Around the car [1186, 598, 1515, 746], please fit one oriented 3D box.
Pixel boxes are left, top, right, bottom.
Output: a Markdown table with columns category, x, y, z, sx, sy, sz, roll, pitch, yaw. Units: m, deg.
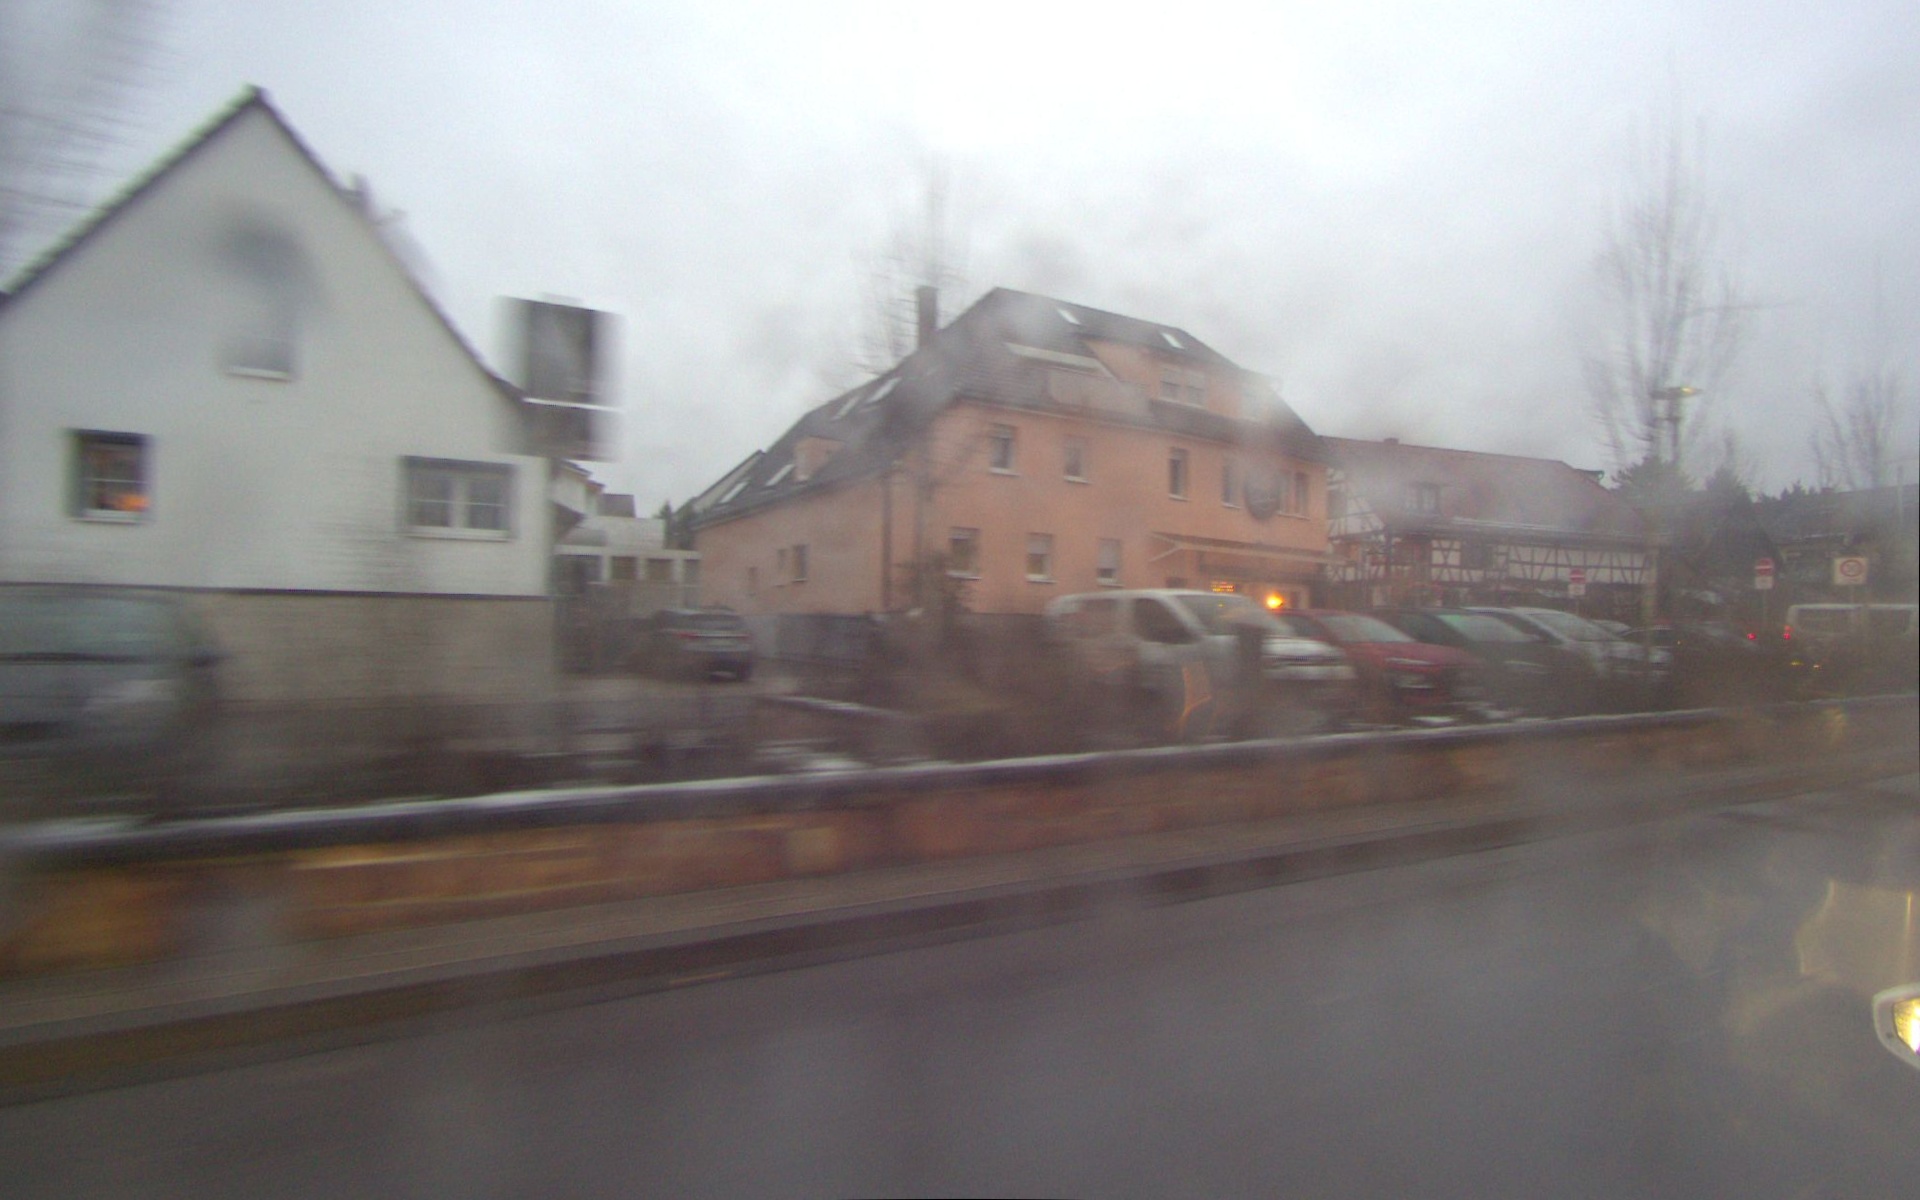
| category | x | y | z | sx | sy | sz | roll | pitch | yaw |
| --- | --- | --- | --- | --- | --- | --- | --- | --- | --- |
| car | 5.122 | 0.848 | 13.800 | 1.658 | 1.674 | 4.183 | 2 | 0 | -26 |

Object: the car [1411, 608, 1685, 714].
| category | x | y | z | sx | sy | sz | roll | pitch | yaw |
| --- | --- | --- | --- | --- | --- | --- | --- | --- | --- |
| car | 9.521 | 0.921 | 16.543 | 1.687 | 1.466 | 3.532 | 2 | 0 | -26 |

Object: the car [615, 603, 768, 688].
| category | x | y | z | sx | sy | sz | roll | pitch | yaw |
| --- | --- | --- | --- | --- | --- | --- | --- | --- | --- |
| car | -5.891 | 0.933 | 21.708 | 1.979 | 1.518 | 4.060 | 4 | -1 | -33 |

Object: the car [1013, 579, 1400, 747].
| category | x | y | z | sx | sy | sz | roll | pitch | yaw |
| --- | --- | --- | --- | --- | --- | --- | --- | --- | --- |
| car | 2.811 | 0.646 | 12.554 | 1.979 | 1.689 | 4.599 | 2 | -1 | -33 |

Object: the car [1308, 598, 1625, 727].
| category | x | y | z | sx | sy | sz | roll | pitch | yaw |
| --- | --- | --- | --- | --- | --- | --- | --- | --- | --- |
| car | 7.444 | 0.829 | 15.232 | 1.637 | 1.666 | 4.153 | 2 | -1 | -26 |

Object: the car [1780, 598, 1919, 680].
| category | x | y | z | sx | sy | sz | roll | pitch | yaw |
| --- | --- | --- | --- | --- | --- | --- | --- | --- | --- |
| car | 23.037 | 0.966 | 23.921 | 1.684 | 1.842 | 5.393 | 2 | 1 | -17 |

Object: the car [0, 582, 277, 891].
| category | x | y | z | sx | sy | sz | roll | pitch | yaw |
| --- | --- | --- | --- | --- | --- | --- | --- | --- | --- |
| car | -6.137 | 0.701 | 6.895 | 1.856 | 1.517 | 4.111 | 4 | -1 | -28 |

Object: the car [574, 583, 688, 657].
| category | x | y | z | sx | sy | sz | roll | pitch | yaw |
| --- | --- | --- | --- | --- | --- | --- | --- | --- | --- |
| car | -8.436 | 0.498 | 25.660 | 1.587 | 1.680 | 3.060 | 4 | -1 | -42 |
